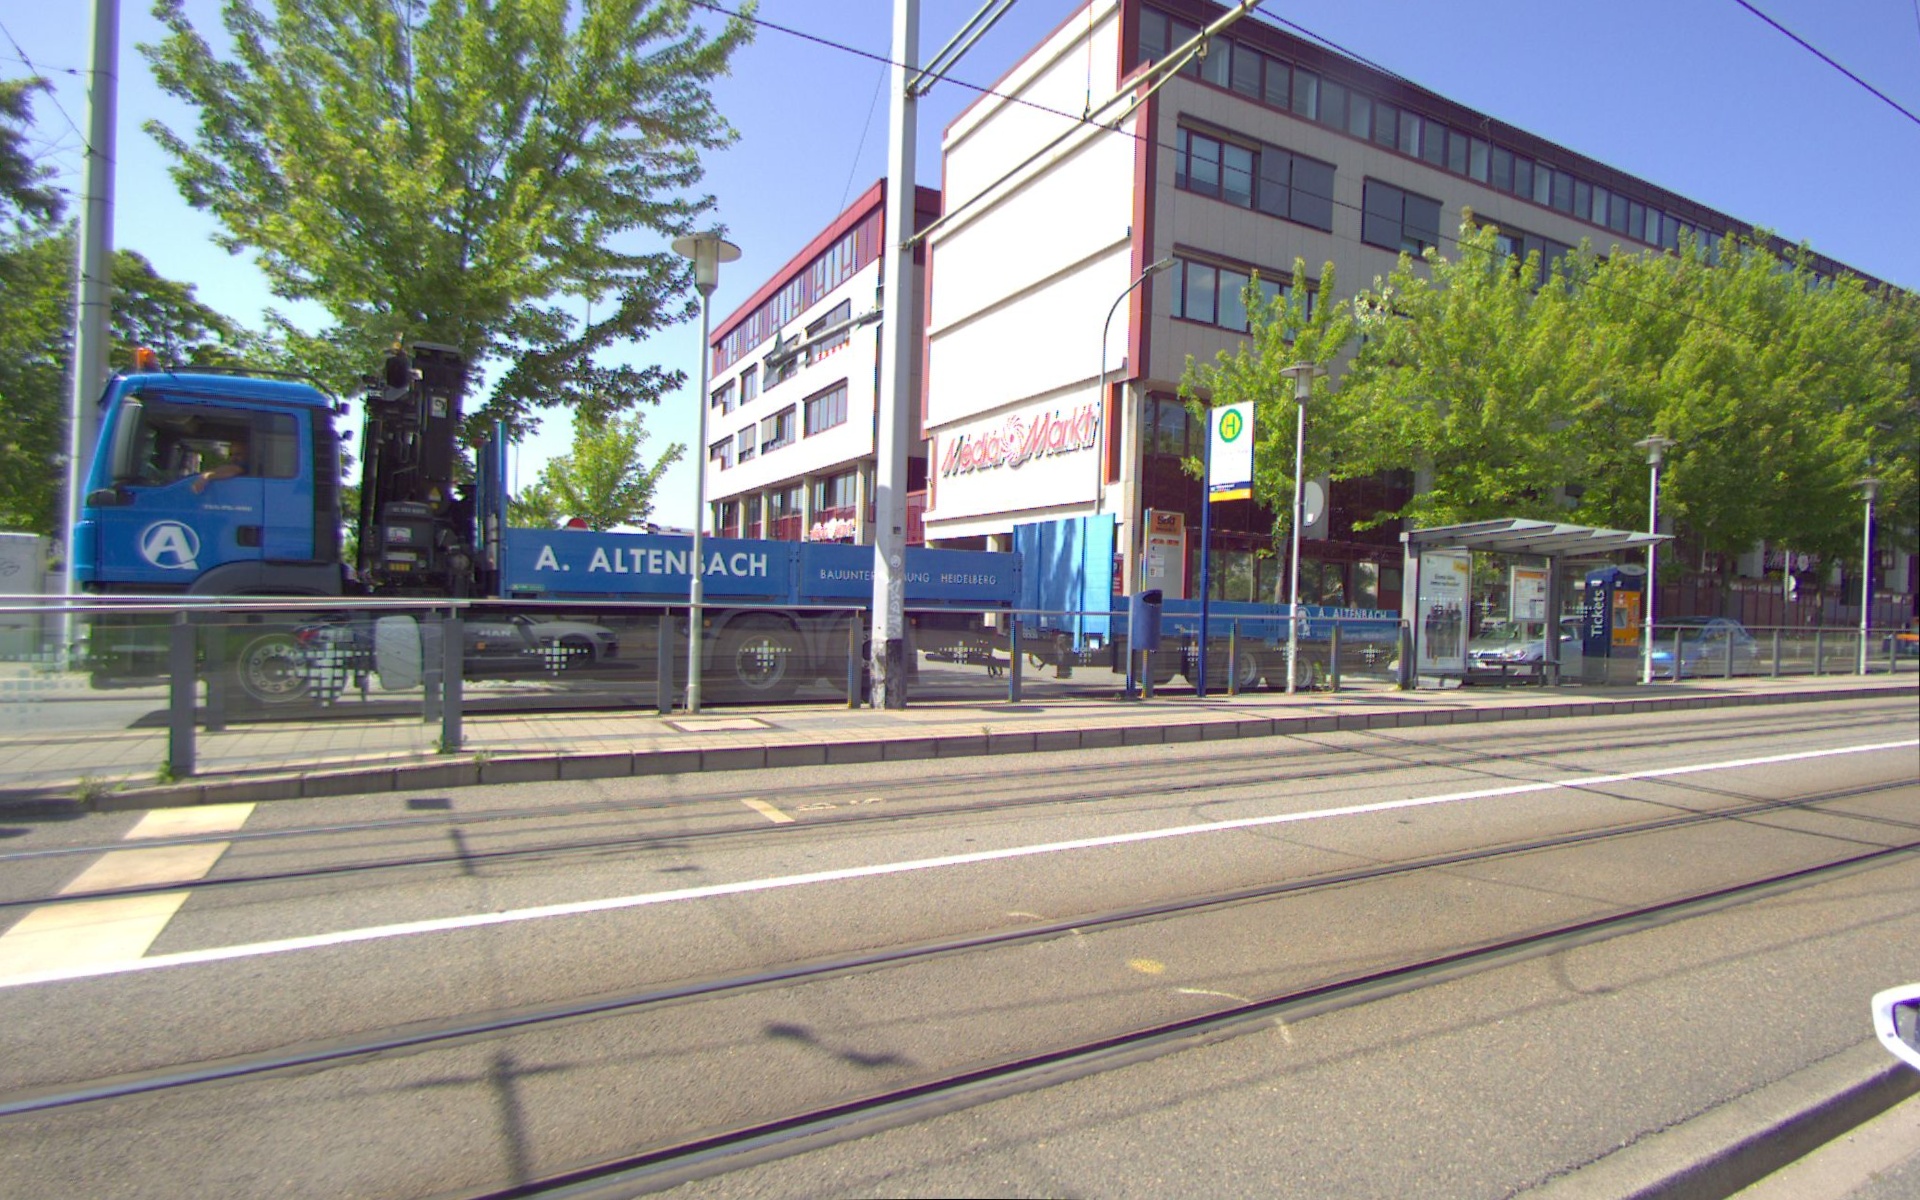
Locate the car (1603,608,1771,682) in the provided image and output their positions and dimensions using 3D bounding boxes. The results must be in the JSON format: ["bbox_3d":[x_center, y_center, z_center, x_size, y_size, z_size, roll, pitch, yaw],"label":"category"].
[{"bbox_3d":[17.081,1.050,23.565,4.023,1.605,1.715,1,-2,-30],"label":"car"}]

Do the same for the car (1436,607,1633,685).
[{"bbox_3d":[12.000,0.926,20.915,4.229,1.492,1.714,1,-1,-30],"label":"car"}]

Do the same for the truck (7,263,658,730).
[{"bbox_3d":[-5.966,-0.780,10.317,4.980,3.657,2.730,1,0,-30],"label":"truck"}]

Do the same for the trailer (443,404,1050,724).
[{"bbox_3d":[-2.472,-0.295,12.379,6.817,3.017,2.730,1,0,-30],"label":"trailer"}]

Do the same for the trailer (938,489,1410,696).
[{"bbox_3d":[3.598,-0.053,16.080,7.513,2.663,2.782,1,0,-31],"label":"trailer"}]

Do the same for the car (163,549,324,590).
[{"bbox_3d":[-27.835,-1.161,39.186,1.819,1.513,4.808,1,2,29],"label":"car"}]
